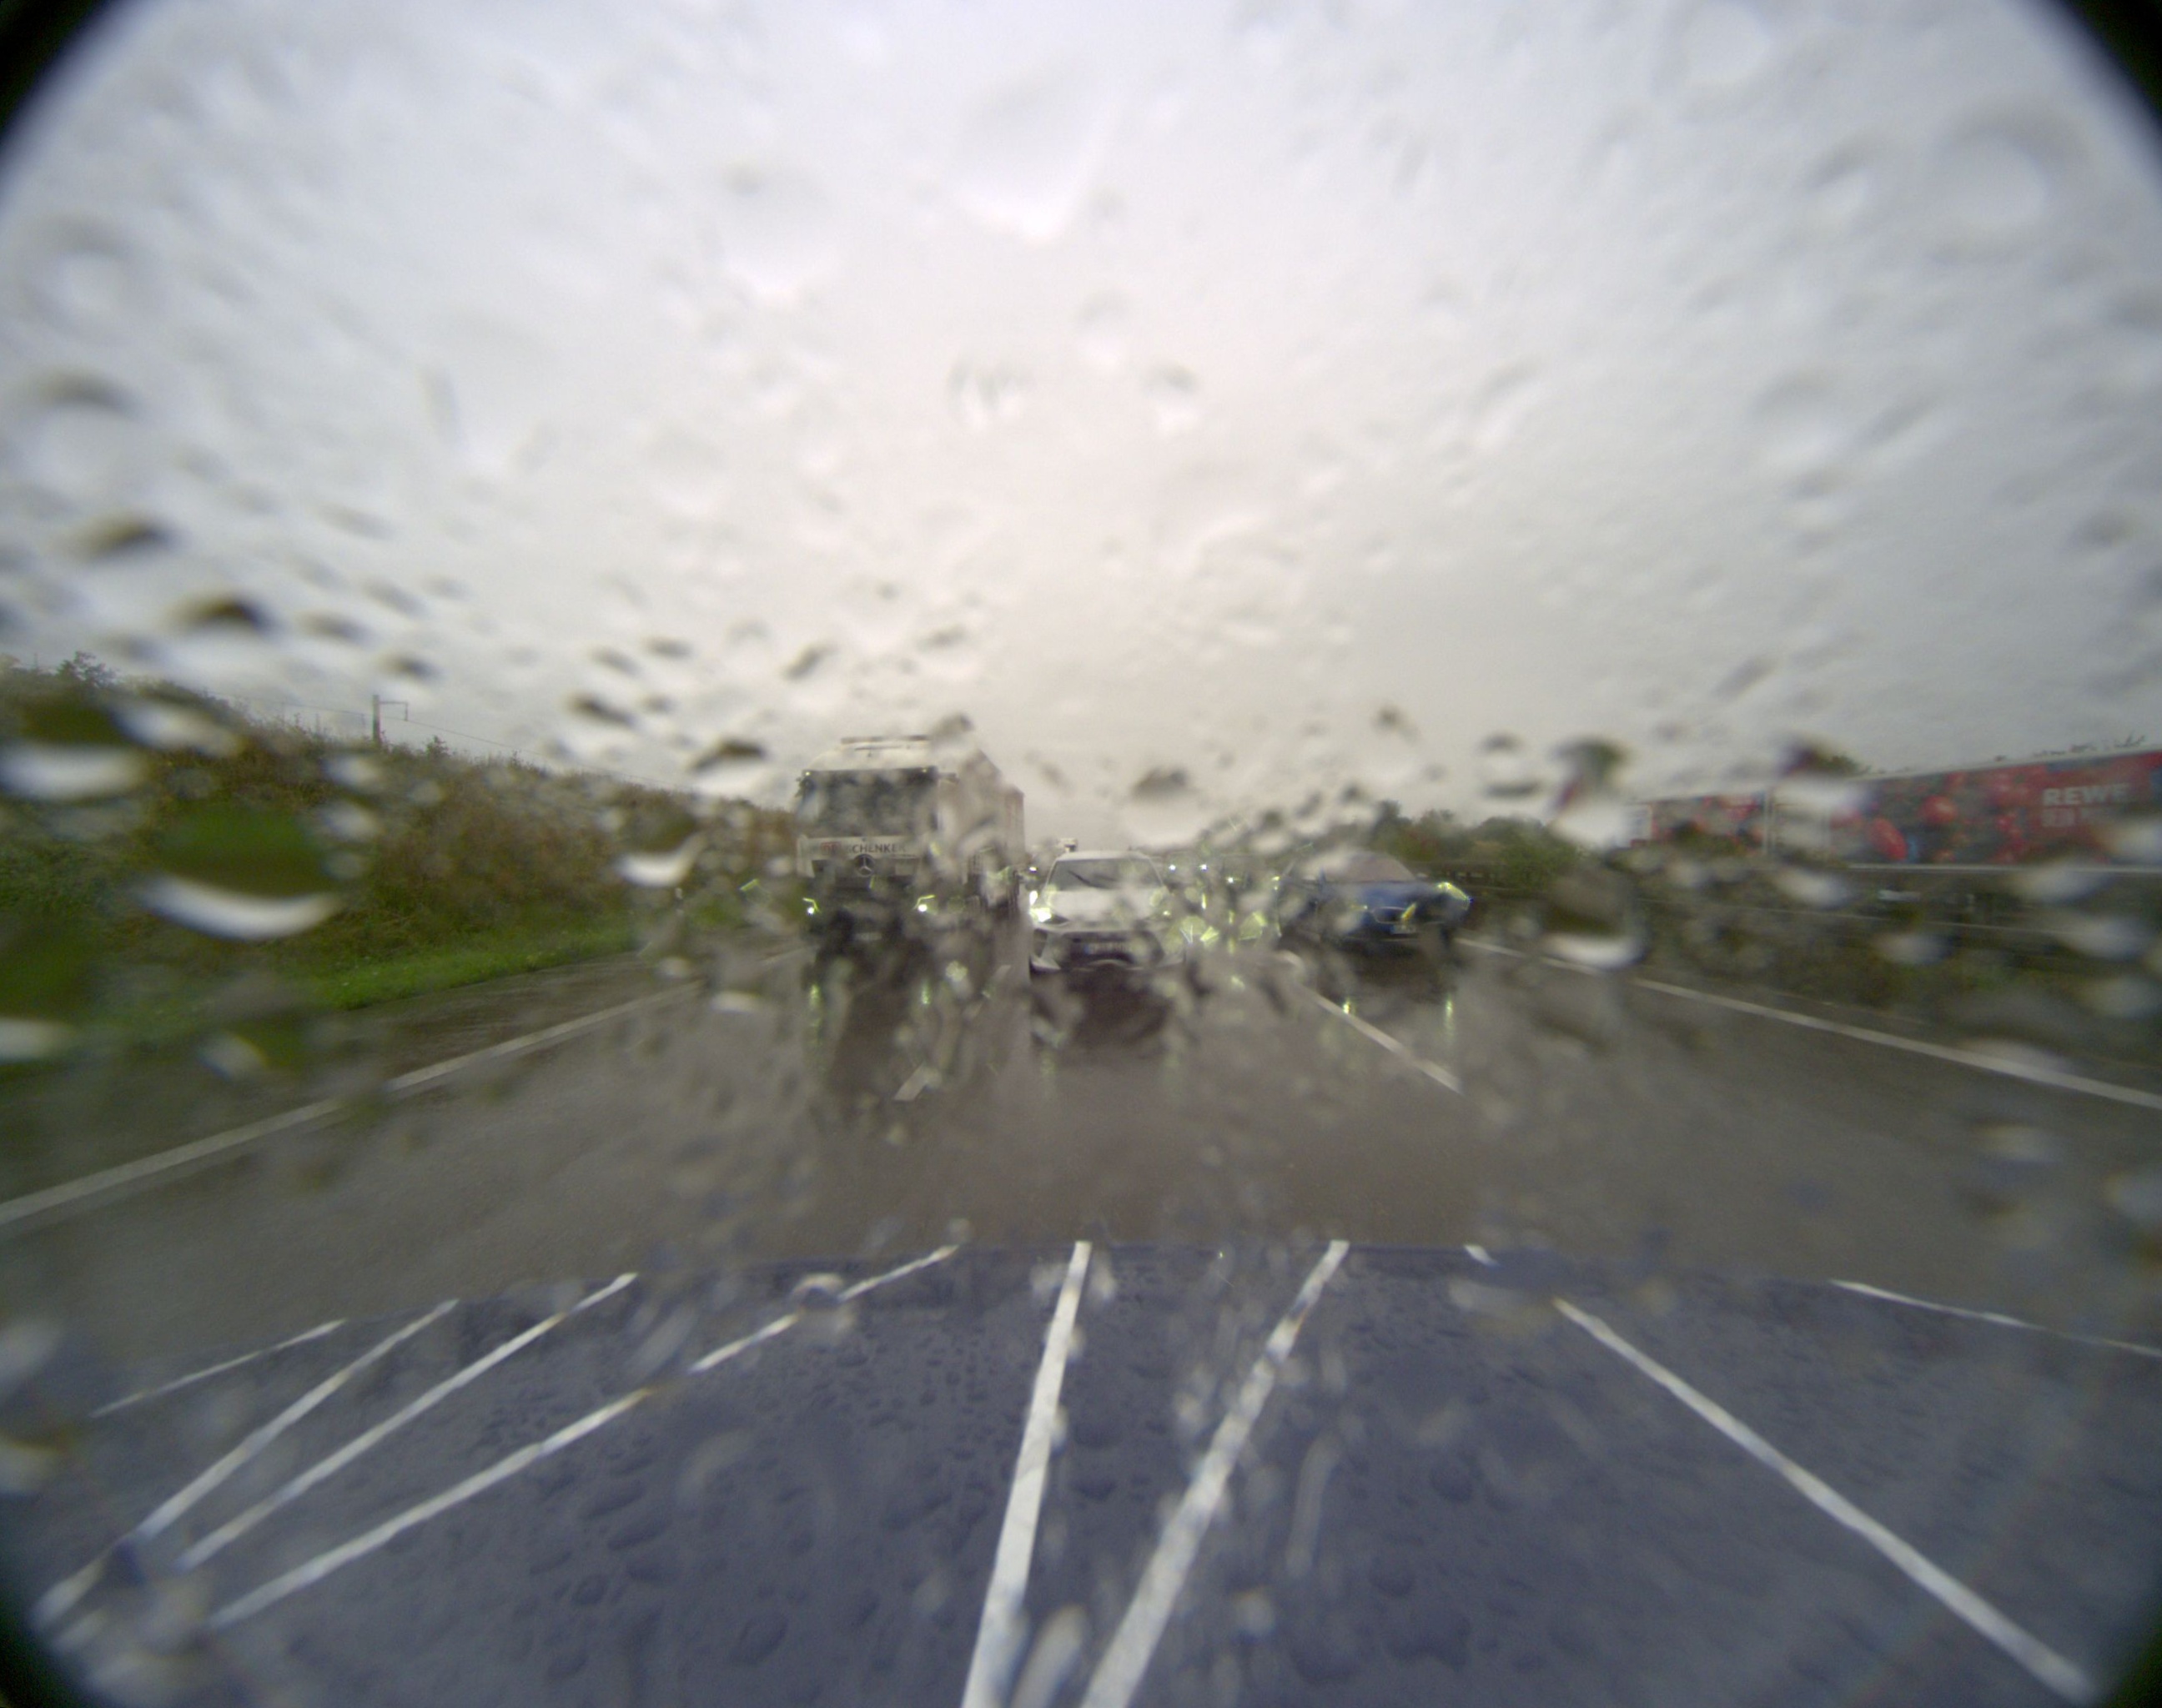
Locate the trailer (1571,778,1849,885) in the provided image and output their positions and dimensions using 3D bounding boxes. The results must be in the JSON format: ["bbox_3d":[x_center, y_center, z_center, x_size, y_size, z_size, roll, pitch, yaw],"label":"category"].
[{"bbox_3d":[21.421,-0.669,26.928,1.998,3.064,9.554,-2,0,1],"label":"trailer"}]

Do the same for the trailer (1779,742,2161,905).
[{"bbox_3d":[21.292,-0.610,17.689,1.998,3.064,8.871,-2,0,1],"label":"trailer"}]

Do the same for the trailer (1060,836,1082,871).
[{"bbox_3d":[-1.287,-0.029,105.499,2.628,4.635,9.221,-2,0,1],"label":"trailer"}]

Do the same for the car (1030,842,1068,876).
[{"bbox_3d":[-1.969,0.265,48.530,1.946,2.002,4.446,-2,1,3],"label":"car"}]

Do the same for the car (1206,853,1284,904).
[{"bbox_3d":[5.159,0.719,24.426,1.613,1.428,4.370,-2,0,1],"label":"car"}]

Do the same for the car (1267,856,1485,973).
[{"bbox_3d":[4.411,0.800,12.204,1.790,1.467,4.512,-2,0,1],"label":"car"}]

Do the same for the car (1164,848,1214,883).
[{"bbox_3d":[5.345,0.548,38.029,1.889,1.622,4.269,-2,0,1],"label":"car"}]

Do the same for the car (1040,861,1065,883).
[{"bbox_3d":[-2.562,1.611,68.991,1.998,1.805,4.000,-2,0,1],"label":"car"}]

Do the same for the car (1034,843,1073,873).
[{"bbox_3d":[-1.935,0.248,54.904,2.260,2.002,4.270,-2,1,4],"label":"car"}]

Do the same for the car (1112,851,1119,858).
[{"bbox_3d":[7.872,0.134,173.060,1.279,1.567,2.848,-2,0,0],"label":"car"}]

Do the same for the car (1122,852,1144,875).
[{"bbox_3d":[4.740,0.869,69.446,1.737,2.002,4.223,-2,0,1],"label":"car"}]

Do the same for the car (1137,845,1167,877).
[{"bbox_3d":[4.792,0.446,51.928,1.888,2.002,4.270,-2,0,4],"label":"car"}]

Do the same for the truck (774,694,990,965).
[{"bbox_3d":[-3.458,-0.412,14.615,2.633,4.229,5.042,-2,1,0],"label":"truck"}]

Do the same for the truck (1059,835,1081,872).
[{"bbox_3d":[-1.411,-0.054,100.266,2.628,4.635,4.290,-2,0,1],"label":"truck"}]

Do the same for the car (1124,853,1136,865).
[{"bbox_3d":[6.603,0.626,102.393,1.458,1.540,2.804,0,2,1],"label":"car"}]

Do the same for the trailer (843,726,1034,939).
[{"bbox_3d":[-3.323,-0.516,22.487,2.633,4.224,14.175,-2,1,1],"label":"trailer"}]

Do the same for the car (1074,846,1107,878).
[{"bbox_3d":[0.660,0.500,50.162,1.998,2.002,4.000,-2,0,2],"label":"car"}]

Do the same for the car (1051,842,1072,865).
[{"bbox_3d":[-1.968,-0.074,78.433,1.998,2.231,4.000,-2,0,1],"label":"car"}]

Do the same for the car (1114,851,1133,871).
[{"bbox_3d":[4.343,0.706,78.579,1.737,2.002,4.223,-2,0,1],"label":"car"}]

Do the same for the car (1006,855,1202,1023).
[{"bbox_3d":[0.260,0.842,9.491,1.893,1.578,4.000,-2,1,1],"label":"car"}]
